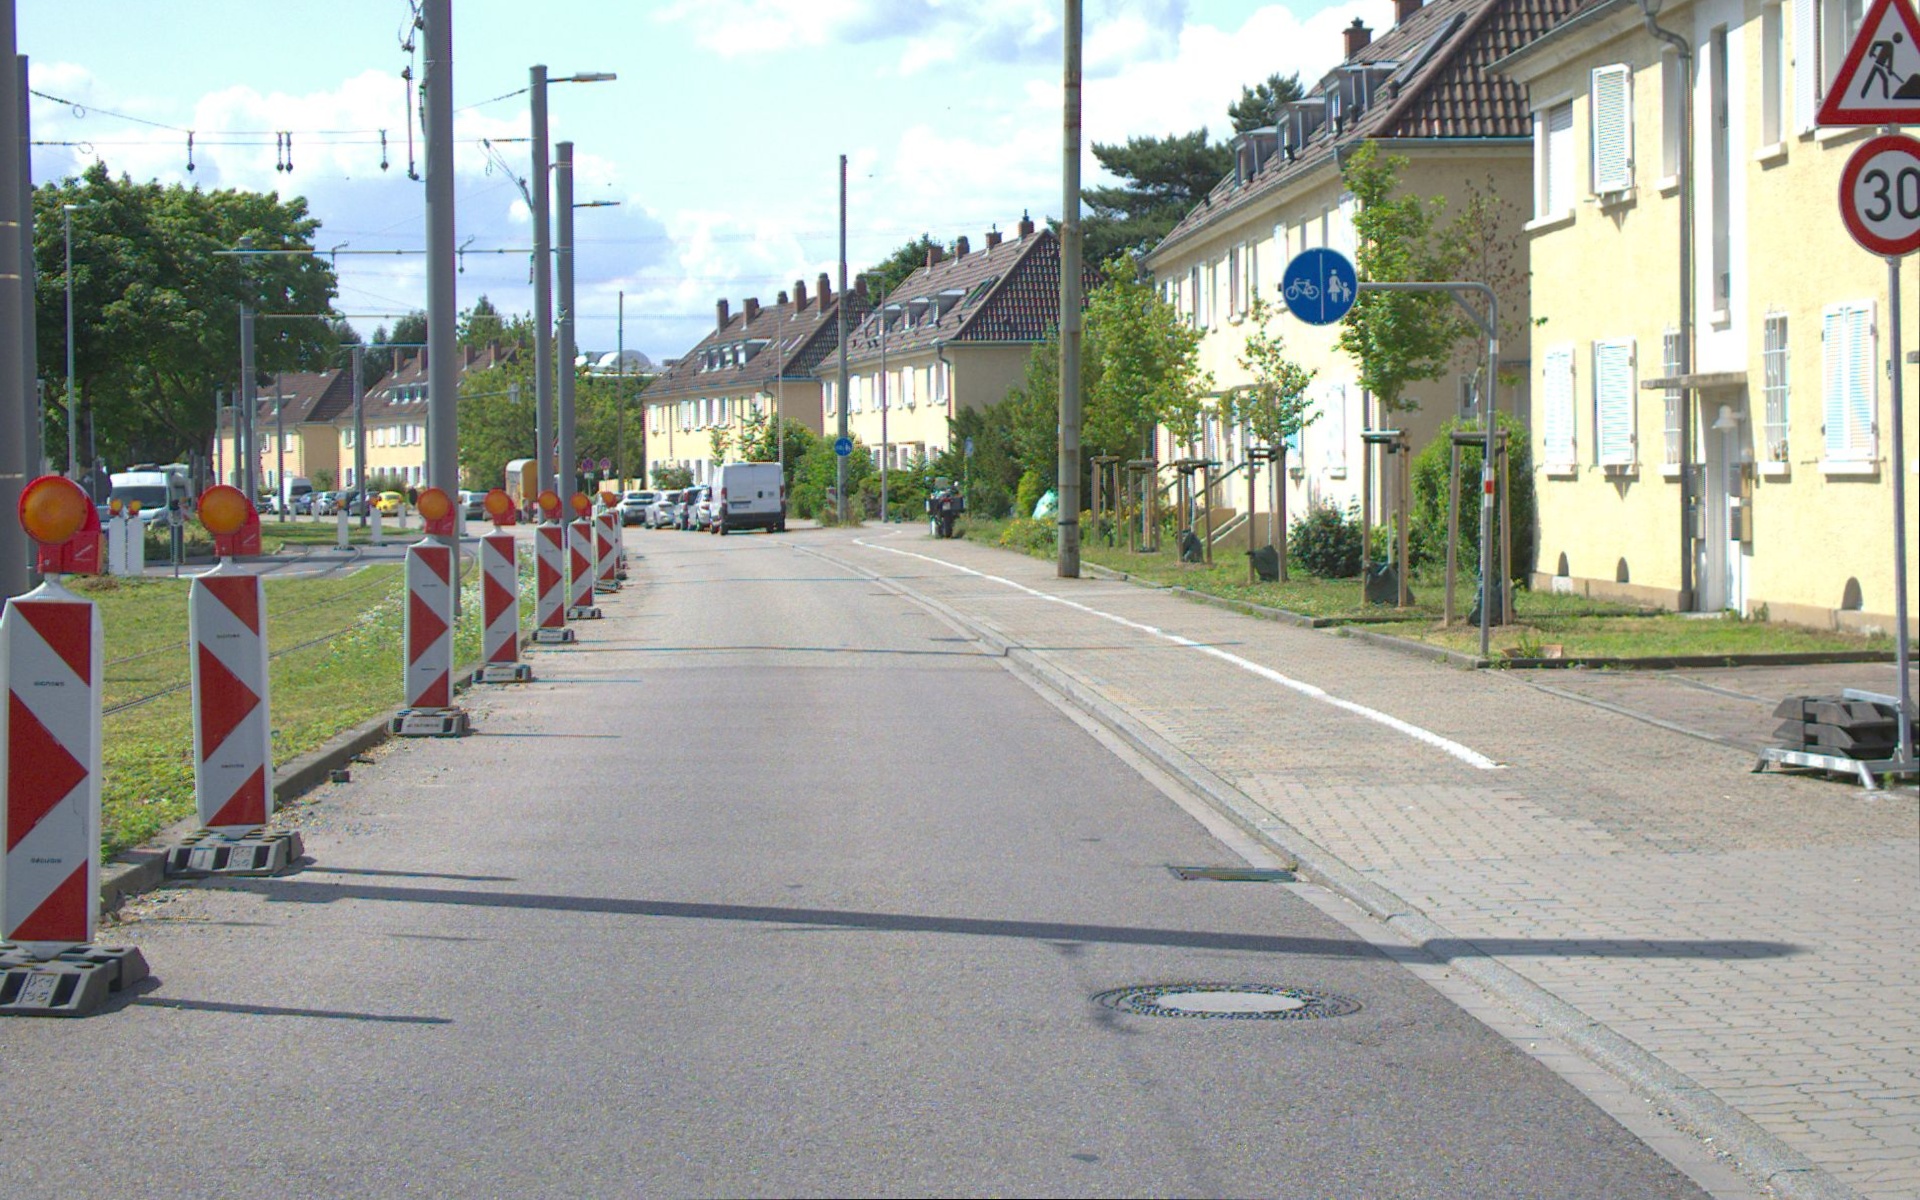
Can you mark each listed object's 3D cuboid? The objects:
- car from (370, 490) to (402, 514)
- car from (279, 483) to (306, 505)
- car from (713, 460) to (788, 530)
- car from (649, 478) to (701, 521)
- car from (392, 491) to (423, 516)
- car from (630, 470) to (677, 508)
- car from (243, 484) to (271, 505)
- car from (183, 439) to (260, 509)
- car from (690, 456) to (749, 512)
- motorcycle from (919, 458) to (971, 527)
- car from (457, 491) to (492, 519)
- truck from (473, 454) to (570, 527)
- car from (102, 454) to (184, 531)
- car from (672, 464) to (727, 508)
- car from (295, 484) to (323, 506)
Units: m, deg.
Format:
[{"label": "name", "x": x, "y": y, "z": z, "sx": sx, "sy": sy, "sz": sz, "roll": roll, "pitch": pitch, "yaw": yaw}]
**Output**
[{"label": "car", "x": -34.707, "y": -5.892, "z": 207.707, "sx": 1.257, "sy": 1.421, "sz": 2.666, "roll": -2, "pitch": 2, "yaw": -24}, {"label": "car", "x": -43.968, "y": -6.952, "z": 226.423, "sx": 1.165, "sy": 1.421, "sz": 2.666, "roll": -2, "pitch": 2, "yaw": -25}, {"label": "car", "x": -6.697, "y": -3.341, "z": 109.480, "sx": 2.065, "sy": 2.141, "sz": 4.880, "roll": -1, "pitch": 2, "yaw": -7}, {"label": "car", "x": -10.757, "y": -3.799, "z": 129.702, "sx": 1.567, "sy": 1.546, "sz": 3.791, "roll": -1, "pitch": 2, "yaw": -11}, {"label": "car", "x": -32.652, "y": -5.696, "z": 203.114, "sx": 1.257, "sy": 1.421, "sz": 2.666, "roll": -2, "pitch": 2, "yaw": -22}, {"label": "car", "x": -12.617, "y": -4.578, "z": 141.545, "sx": 1.567, "sy": 1.546, "sz": 3.480, "roll": -1, "pitch": 2, "yaw": -11}, {"label": "car", "x": -48.373, "y": -7.261, "z": 236.475, "sx": 1.257, "sy": 1.421, "sz": 2.666, "roll": -2, "pitch": 2, "yaw": -25}, {"label": "car", "x": -26.015, "y": -4.451, "z": 121.018, "sx": 2.406, "sy": 2.362, "sz": 4.881, "roll": -1, "pitch": 3, "yaw": -14}, {"label": "car", "x": -8.342, "y": -4.007, "z": 118.973, "sx": 1.567, "sy": 1.891, "sz": 3.791, "roll": -1, "pitch": 2, "yaw": -11}, {"label": "motorcycle", "x": -0.363, "y": -2.624, "z": 83.711, "sx": 1.066, "sy": 1.630, "sz": 2.084, "roll": -1, "pitch": 2, "yaw": -5}, {"label": "car", "x": -25.793, "y": -5.049, "z": 182.703, "sx": 1.257, "sy": 1.421, "sz": 2.666, "roll": -2, "pitch": 2, "yaw": -20}, {"label": "truck", "x": -21.837, "y": -5.435, "z": 170.716, "sx": 2.640, "sy": 3.482, "sz": 9.441, "roll": -2, "pitch": 2, "yaw": -20}, {"label": "car", "x": -25.883, "y": -3.405, "z": 108.847, "sx": 2.406, "sy": 2.330, "sz": 4.881, "roll": -1, "pitch": 2, "yaw": -14}, {"label": "car", "x": -9.433, "y": -4.129, "z": 124.198, "sx": 1.567, "sy": 1.546, "sz": 3.791, "roll": -1, "pitch": 2, "yaw": -11}, {"label": "car", "x": -42.101, "y": -6.786, "z": 222.347, "sx": 1.165, "sy": 1.421, "sz": 2.666, "roll": -2, "pitch": 2, "yaw": -25}]
